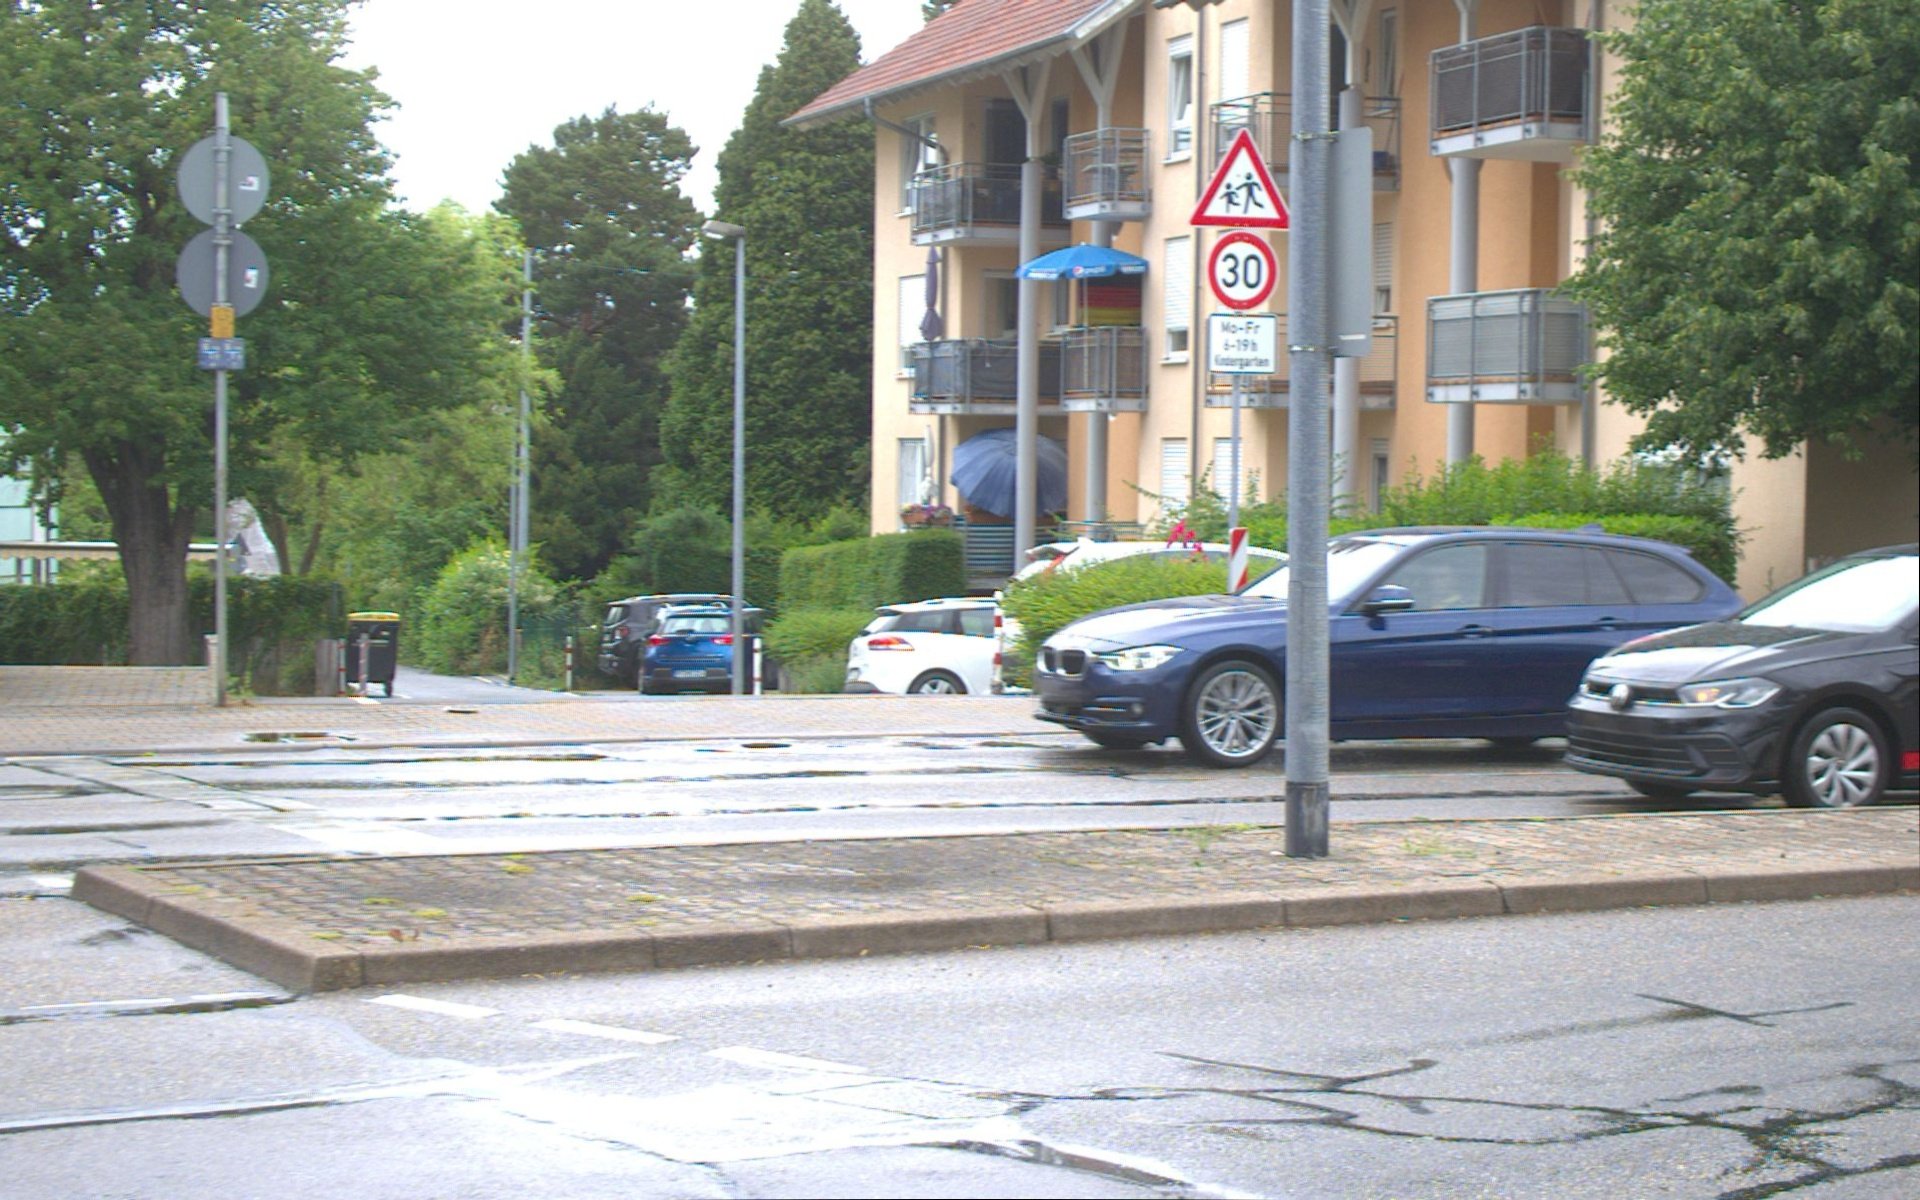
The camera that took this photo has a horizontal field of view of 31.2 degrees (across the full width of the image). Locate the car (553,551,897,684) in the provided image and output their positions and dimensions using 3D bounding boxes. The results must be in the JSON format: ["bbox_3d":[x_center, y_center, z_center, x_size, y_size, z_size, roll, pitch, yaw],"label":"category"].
[{"bbox_3d":[-4.568,0.328,66.465,5.999,2.193,2.854,3,1,-18],"label":"car"}]

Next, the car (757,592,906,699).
[{"bbox_3d":[-1.953,0.647,51.227,1.760,1.403,3.863,-1,2,-9],"label":"car"}]

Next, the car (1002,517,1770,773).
[{"bbox_3d":[2.612,0.249,21.167,4.337,1.430,1.760,0,2,-20],"label":"car"}]

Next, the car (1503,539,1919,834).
[{"bbox_3d":[5.167,0.389,18.127,4.188,1.403,1.823,0,2,-21],"label":"car"}]

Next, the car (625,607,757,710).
[{"bbox_3d":[-4.232,0.878,53.652,1.760,1.403,3.863,-1,2,-9],"label":"car"}]

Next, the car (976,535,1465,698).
[{"bbox_3d":[2.402,0.154,32.116,4.188,1.434,1.823,1,0,-13],"label":"car"}]

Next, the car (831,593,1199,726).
[{"bbox_3d":[0.600,0.647,39.007,3.848,1.403,1.767,0,2,-14],"label":"car"}]
